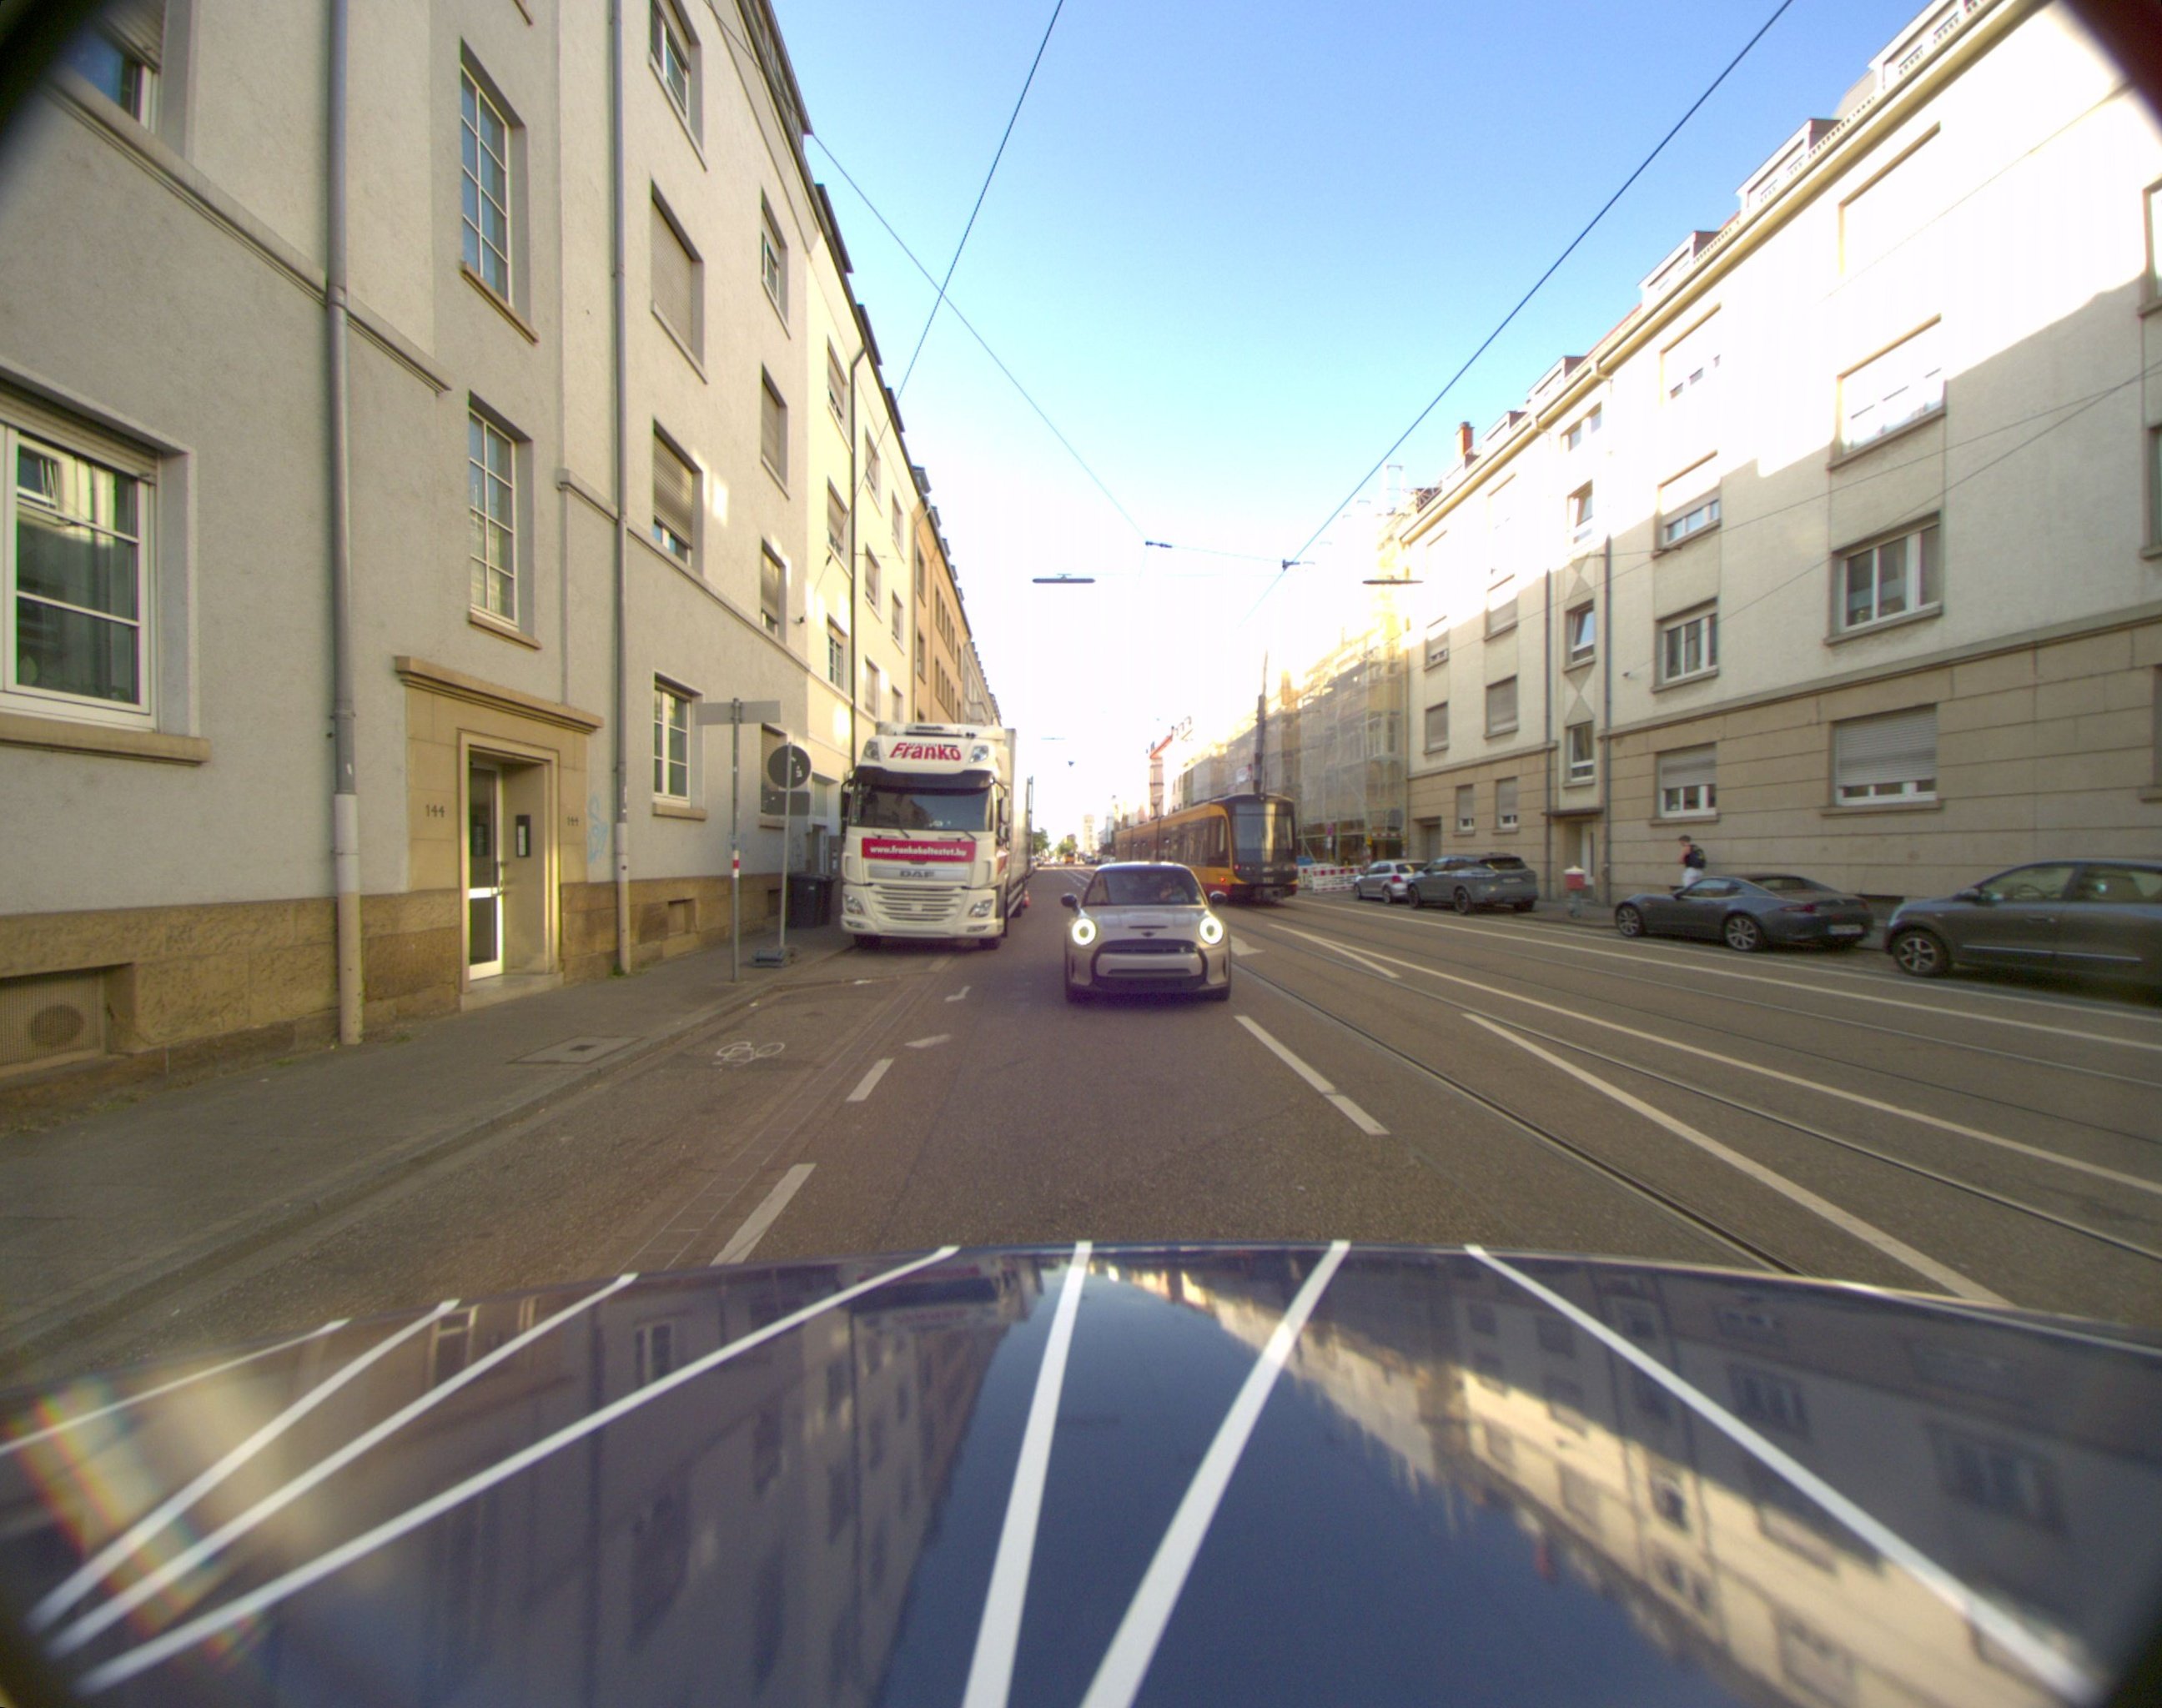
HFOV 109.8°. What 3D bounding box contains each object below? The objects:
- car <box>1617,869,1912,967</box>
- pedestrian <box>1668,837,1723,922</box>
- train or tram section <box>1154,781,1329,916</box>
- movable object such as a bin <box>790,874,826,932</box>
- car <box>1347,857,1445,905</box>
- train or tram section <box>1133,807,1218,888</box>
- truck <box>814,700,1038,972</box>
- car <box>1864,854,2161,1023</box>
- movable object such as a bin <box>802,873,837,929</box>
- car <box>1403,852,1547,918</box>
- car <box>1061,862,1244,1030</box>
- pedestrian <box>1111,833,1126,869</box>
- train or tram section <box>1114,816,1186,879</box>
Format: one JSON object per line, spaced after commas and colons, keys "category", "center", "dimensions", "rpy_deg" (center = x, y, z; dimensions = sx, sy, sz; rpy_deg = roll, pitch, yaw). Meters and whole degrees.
{"category": "car", "center": [11.292, 0.967, 12.911], "dimensions": [1.751, 1.269, 3.488], "rpy_deg": [-2, 1, -4]}
{"category": "pedestrian", "center": [13.583, 0.543, 16.808], "dimensions": [0.600, 1.822, 0.733], "rpy_deg": [-2, 1, -1]}
{"category": "train or tram section", "center": [5.125, -0.227, 28.078], "dimensions": [2.752, 3.611, 14.260], "rpy_deg": [-2, 1, -2]}
{"category": "movable object such as a bin", "center": [-5.383, 0.959, 15.016], "dimensions": [0.512, 1.085, 0.495], "rpy_deg": [-2, 1, -4]}
{"category": "car", "center": [10.630, 0.863, 25.889], "dimensions": [1.637, 1.383, 3.643], "rpy_deg": [-2, 1, -3]}
{"category": "train or tram section", "center": [4.634, -0.333, 39.227], "dimensions": [2.833, 3.610, 9.081], "rpy_deg": [-2, 1, -2]}
{"category": "truck", "center": [-2.623, -0.257, 17.138], "dimensions": [2.899, 3.939, 11.704], "rpy_deg": [-2, 0, -2]}
{"category": "car", "center": [11.382, 0.835, 8.442], "dimensions": [1.670, 1.563, 3.496], "rpy_deg": [-2, 1, -2]}
{"category": "movable object such as a bin", "center": [-5.359, 0.959, 15.587], "dimensions": [0.512, 1.085, 0.495], "rpy_deg": [-2, 1, -4]}
{"category": "car", "center": [10.849, 0.773, 21.274], "dimensions": [1.712, 1.582, 4.112], "rpy_deg": [-2, 1, -3]}
{"category": "car", "center": [0.656, 0.876, 9.020], "dimensions": [1.692, 1.495, 4.000], "rpy_deg": [0, 0, 0]}
{"category": "pedestrian", "center": [4.608, -0.416, 93.652], "dimensions": [1.723, 4.377, 1.153], "rpy_deg": [-2, 1, 2]}
{"category": "train or tram section", "center": [4.259, -0.431, 50.098], "dimensions": [3.070, 3.573, 12.626], "rpy_deg": [1, 0, -2]}
